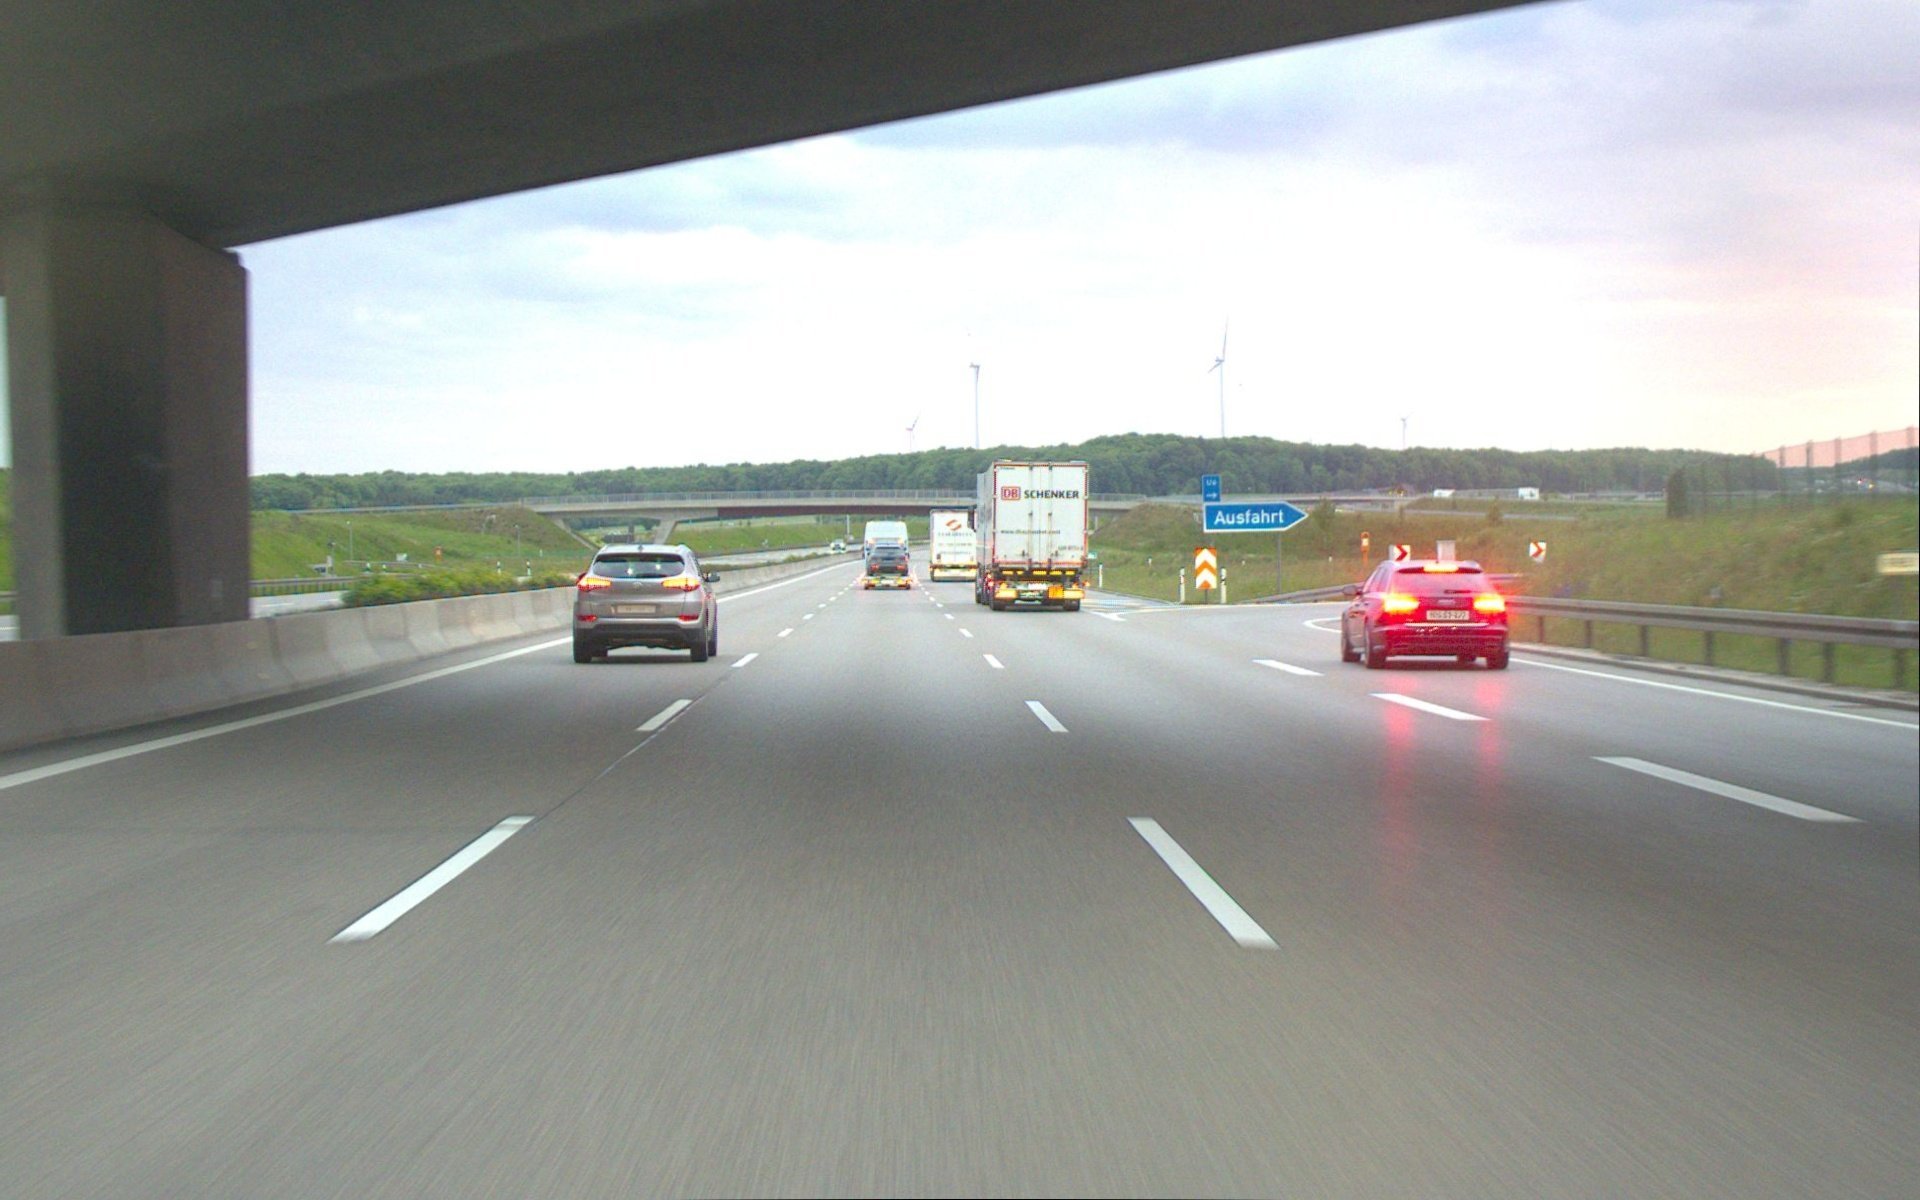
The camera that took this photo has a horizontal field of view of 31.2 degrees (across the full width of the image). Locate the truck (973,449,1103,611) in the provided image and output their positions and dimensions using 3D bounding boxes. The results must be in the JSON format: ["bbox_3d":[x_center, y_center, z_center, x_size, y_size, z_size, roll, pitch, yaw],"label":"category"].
[{"bbox_3d":[2.082,-1.962,95.591,3.233,4.213,9.599,1,1,-1],"label":"truck"}]

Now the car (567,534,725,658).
[{"bbox_3d":[-4.455,-0.101,49.463,1.852,1.687,5.512,0,1,-1],"label":"car"}]

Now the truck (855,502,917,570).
[{"bbox_3d":[-3.679,-3.185,169.754,2.951,3.206,8.407,1,1,-2],"label":"truck"}]

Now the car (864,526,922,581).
[{"bbox_3d":[-3.024,-2.089,153.785,2.516,2.383,6.497,0,1,-2],"label":"car"}]

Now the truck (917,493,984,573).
[{"bbox_3d":[-0.577,-3.800,194.392,3.525,4.330,8.407,1,1,-2],"label":"truck"}]

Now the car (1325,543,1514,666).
[{"bbox_3d":[6.177,0.026,46.592,1.918,1.574,4.000,0,1,-2],"label":"car"}]
